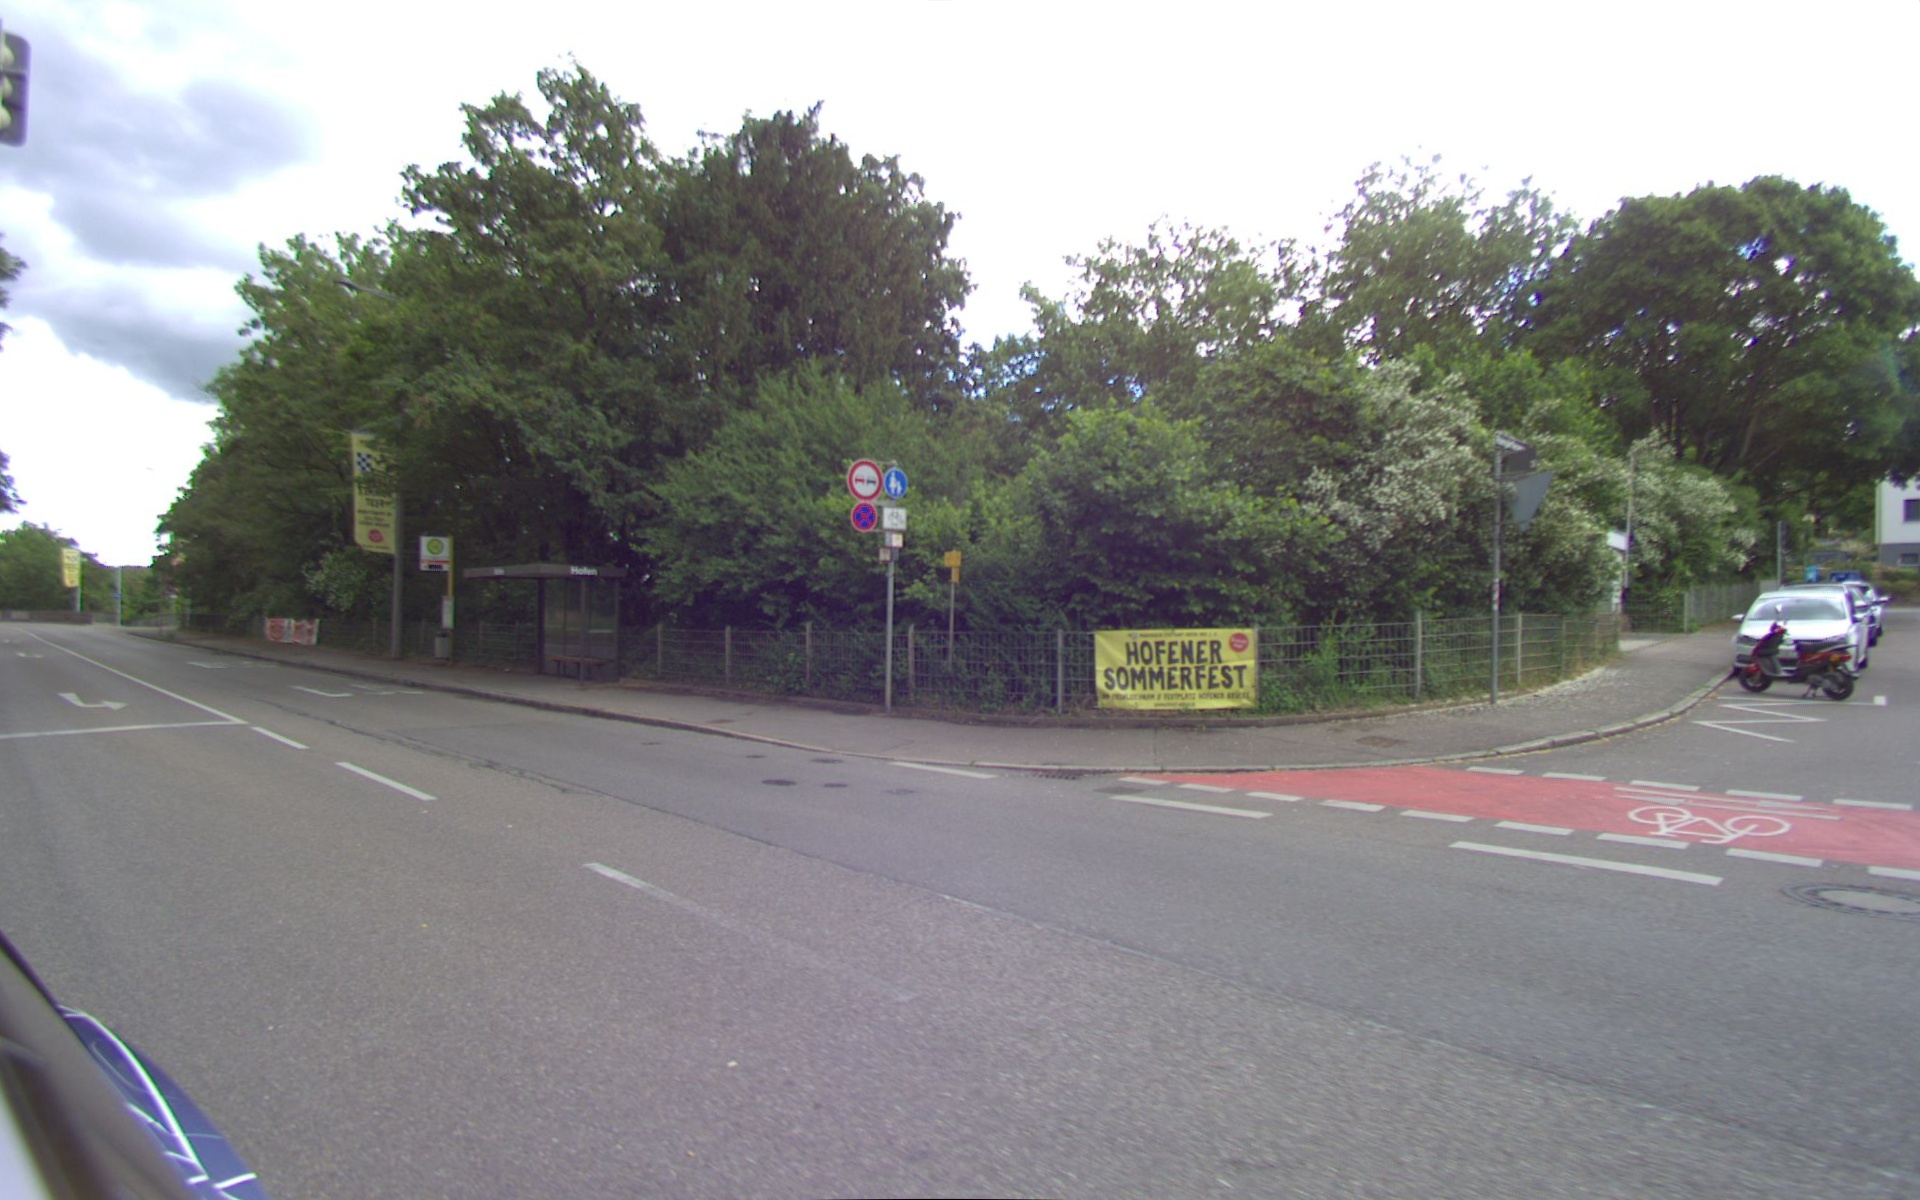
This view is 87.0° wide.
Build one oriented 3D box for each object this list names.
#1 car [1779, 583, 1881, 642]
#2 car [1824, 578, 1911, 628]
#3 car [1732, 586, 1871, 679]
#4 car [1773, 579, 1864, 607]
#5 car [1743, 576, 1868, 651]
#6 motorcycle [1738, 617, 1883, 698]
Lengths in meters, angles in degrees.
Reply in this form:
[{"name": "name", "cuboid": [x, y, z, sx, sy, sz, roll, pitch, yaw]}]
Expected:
[{"name": "car", "cuboid": [20.968, 0.288, 24.346, 1.690, 1.319, 3.353, -2, -1, 43]}, {"name": "car", "cuboid": [24.762, 0.090, 27.572, 1.661, 1.266, 3.353, -2, -1, 43]}, {"name": "car", "cuboid": [14.782, 0.507, 17.716, 1.604, 1.453, 3.853, -2, -1, 43]}, {"name": "car", "cuboid": [43.221, -0.339, 50.974, 3.401, 1.266, 1.638, -2, -1, 43]}, {"name": "car", "cuboid": [18.184, 0.275, 21.698, 1.801, 1.453, 3.853, -2, -1, 43]}, {"name": "motorcycle", "cuboid": [12.114, 0.783, 14.480, 0.453, 1.076, 1.652, -1, -1, -11]}]
